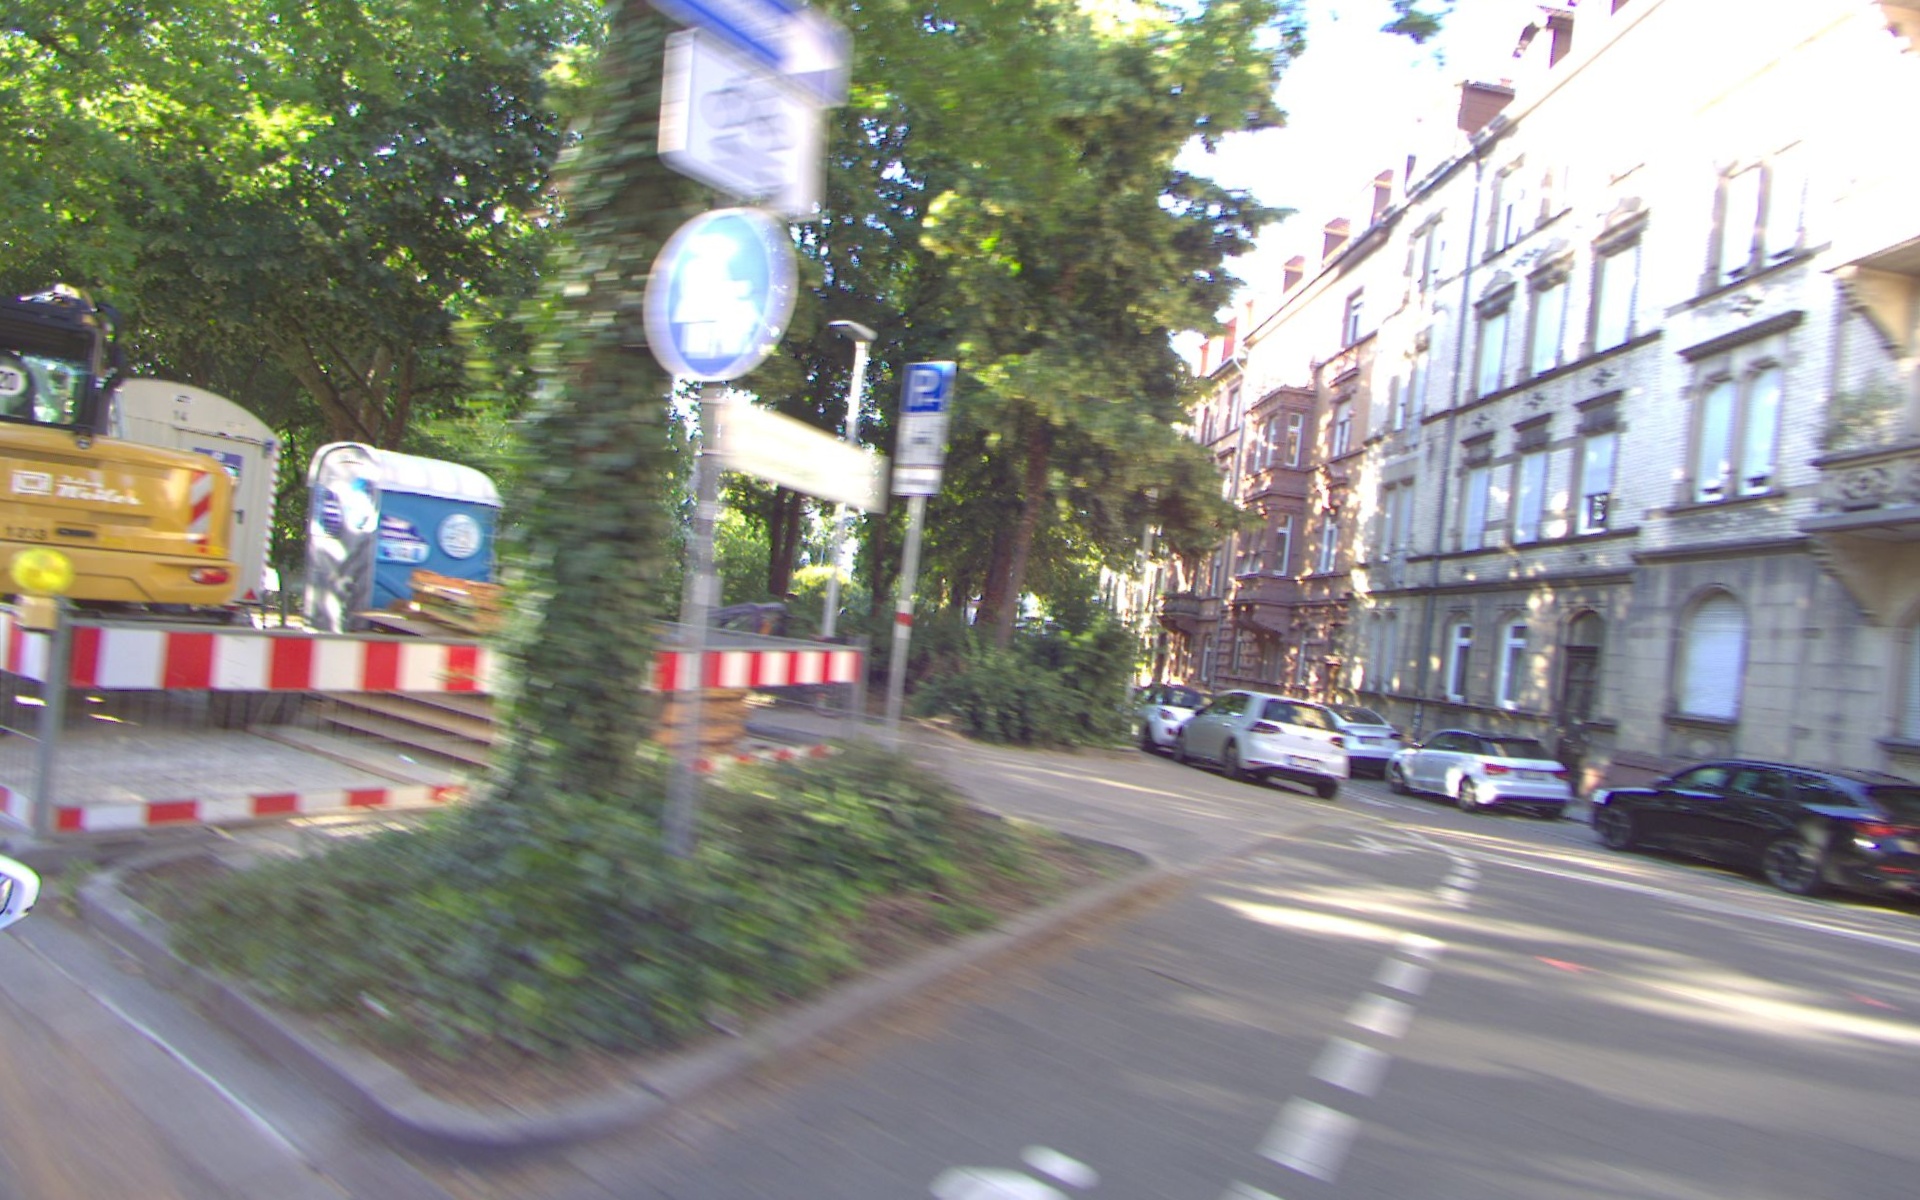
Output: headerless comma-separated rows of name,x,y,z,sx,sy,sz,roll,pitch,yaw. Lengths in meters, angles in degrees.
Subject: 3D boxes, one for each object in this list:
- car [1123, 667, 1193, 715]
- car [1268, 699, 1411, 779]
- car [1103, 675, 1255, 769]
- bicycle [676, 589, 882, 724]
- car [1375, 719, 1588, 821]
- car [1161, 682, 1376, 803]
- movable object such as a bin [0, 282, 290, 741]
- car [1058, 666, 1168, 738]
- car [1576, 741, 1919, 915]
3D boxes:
car,8.319,3.797,42.520,1.776,1.586,4.000,7,-2,-3
car,9.063,3.290,24.381,1.739,1.536,4.005,3,-4,-3
car,4.479,2.489,21.242,1.849,1.477,4.005,11,-5,-4
bicycle,-2.196,0.667,12.274,2.107,1.301,1.027,7,0,19
car,9.570,3.089,18.848,1.739,1.393,4.005,3,-4,-3
car,4.895,2.229,16.602,1.849,1.426,4.005,11,-5,-4
movable object such as a bin,-6.635,-0.586,7.431,3.071,2.731,1.989,6,-2,45
car,4.069,2.735,27.421,1.849,1.477,4.005,11,-5,-4
car,10.060,2.648,12.361,1.964,1.393,4.368,4,-4,-6
